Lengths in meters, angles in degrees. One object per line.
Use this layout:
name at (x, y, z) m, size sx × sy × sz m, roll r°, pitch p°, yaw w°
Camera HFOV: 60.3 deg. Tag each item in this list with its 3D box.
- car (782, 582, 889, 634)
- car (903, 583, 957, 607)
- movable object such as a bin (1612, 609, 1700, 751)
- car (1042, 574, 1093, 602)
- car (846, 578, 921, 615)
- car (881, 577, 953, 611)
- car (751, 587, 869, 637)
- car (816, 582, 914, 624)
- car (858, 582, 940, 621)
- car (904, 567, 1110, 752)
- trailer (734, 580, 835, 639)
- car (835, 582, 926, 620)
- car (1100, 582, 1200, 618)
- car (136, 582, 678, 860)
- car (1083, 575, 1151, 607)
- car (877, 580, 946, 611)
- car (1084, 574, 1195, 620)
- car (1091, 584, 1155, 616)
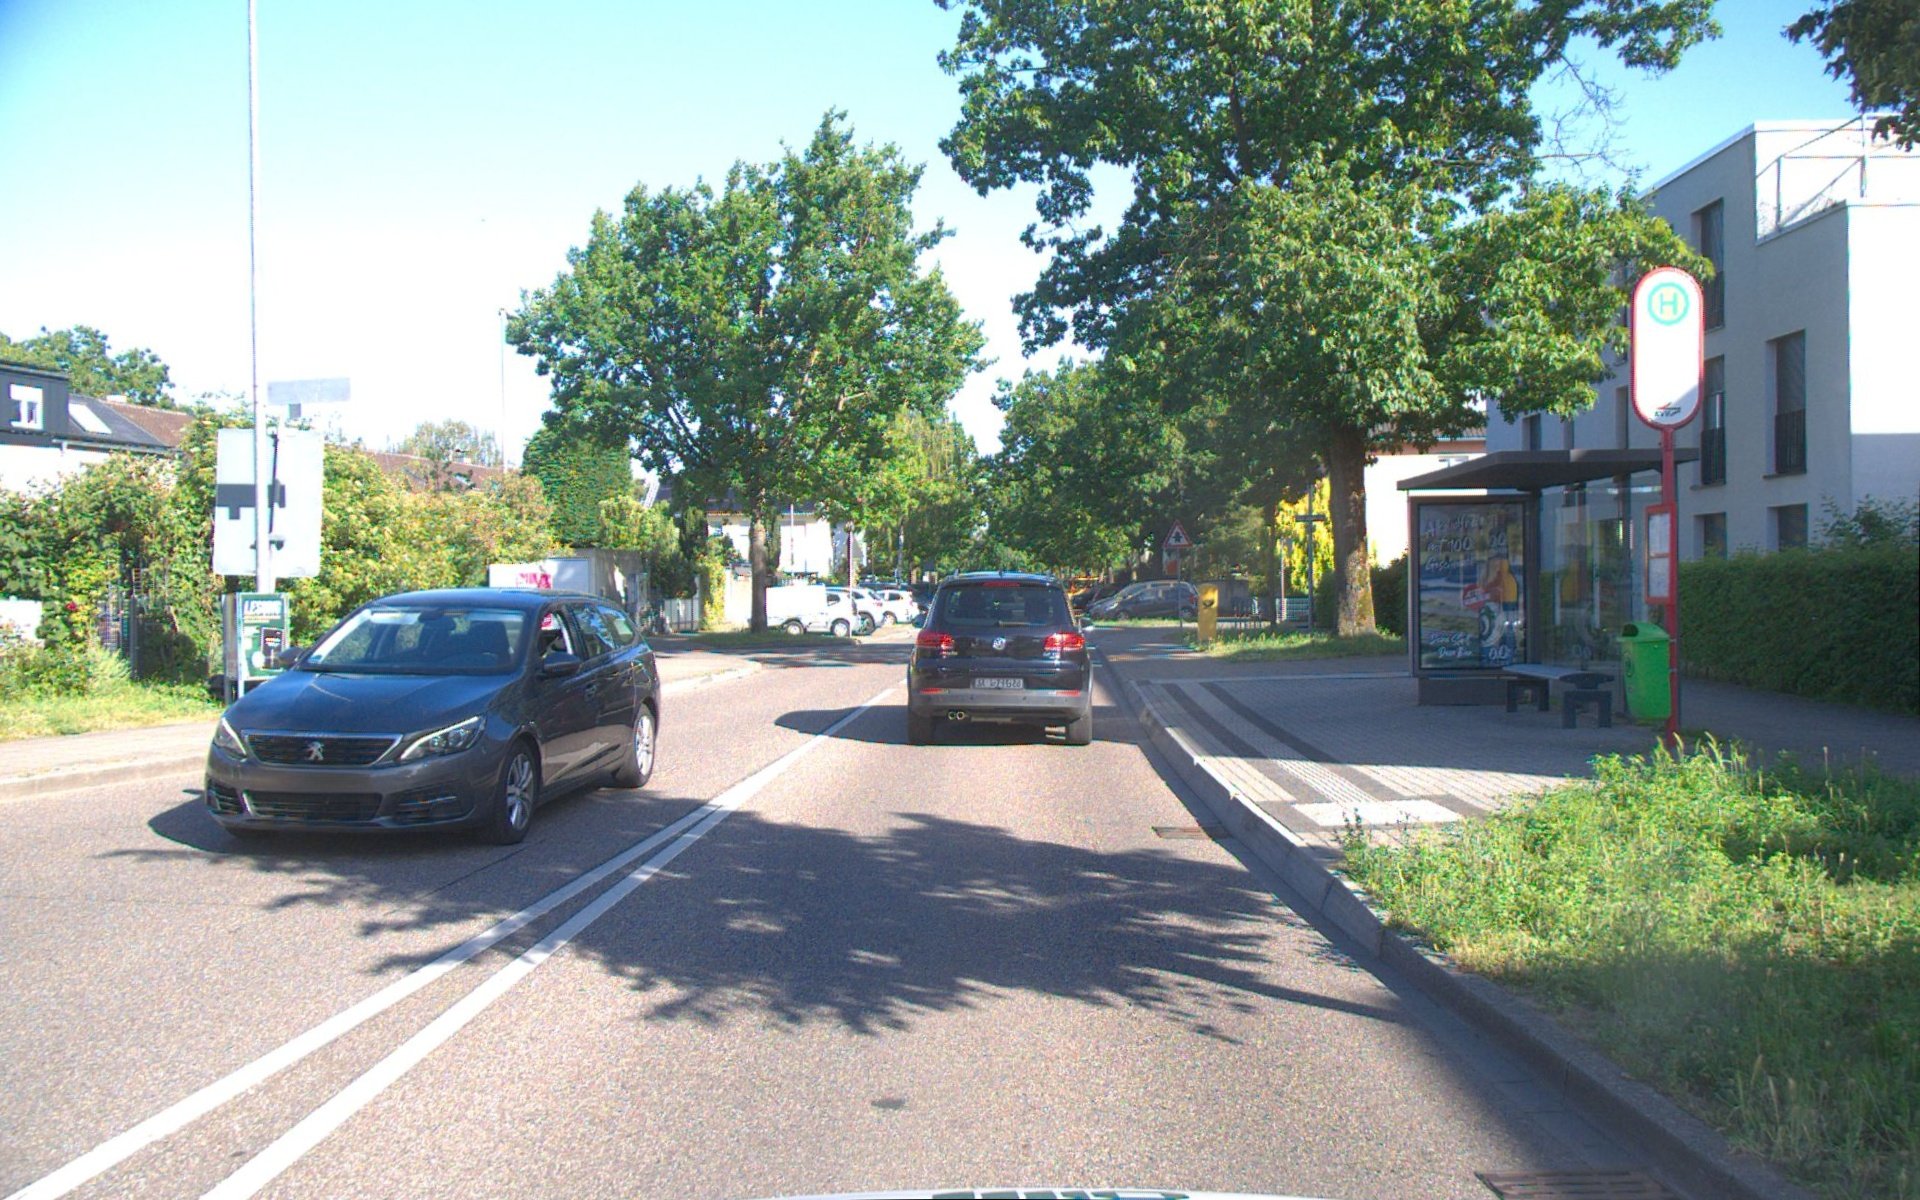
car at (-4.137, 0.253, 55.195) m, size 3.479 × 1.641 × 1.851 m, roll -1°, pitch 0°, yaw -4°
car at (-2.240, -0.360, 122.652) m, size 3.910 × 1.713 × 1.921 m, roll -1°, pitch 0°, yaw -6°
movable object such as a bin at (5.274, 0.594, 12.551) m, size 0.361 × 1.034 × 0.599 m, roll -1°, pitch 0°, yaw -7°
car at (8.427, -0.915, 129.878) m, size 3.903 × 2.049 × 2.000 m, roll -1°, pitch -2°, yaw 3°
car at (-4.030, -0.192, 87.590) m, size 3.906 × 1.868 × 1.637 m, roll -1°, pitch 0°, yaw -2°
car at (-2.599, -0.335, 99.654) m, size 4.301 × 1.973 × 1.578 m, roll -1°, pitch -1°, yaw -2°
car at (-4.735, 0.367, 52.538) m, size 3.475 × 1.503 × 1.809 m, roll -1°, pitch 0°, yaw 2°
car at (-3.975, 0.113, 70.009) m, size 3.903 × 1.699 × 2.001 m, roll -1°, pitch 0°, yaw 3°
car at (-2.920, 0.065, 80.078) m, size 3.906 × 1.762 × 2.000 m, roll -1°, pitch 0°, yaw -2°
car at (0.379, 0.515, 17.498) m, size 1.890 × 1.683 × 4.513 m, roll 1°, pitch 1°, yaw -2°
trailer at (-5.313, 0.277, 50.197) m, size 2.907 × 1.685 × 1.396 m, roll -1°, pitch 0°, yaw -2°
car at (-3.603, 0.024, 75.340) m, size 3.903 × 1.668 × 2.001 m, roll -1°, pitch 0°, yaw 4°
car at (7.726, 0.001, 67.559) m, size 3.904 × 1.392 × 1.847 m, roll -1°, pitch 0°, yaw 2°
car at (-3.359, 0.631, 11.115) m, size 1.952 × 1.469 × 4.452 m, roll 1°, pitch 0°, yaw 3°
car at (9.344, -0.539, 98.648) m, size 3.903 × 1.806 × 1.790 m, roll -1°, pitch 0°, yaw 3°
car at (-2.842, -0.247, 97.189) m, size 3.904 × 1.750 × 1.821 m, roll -1°, pitch -1°, yaw 2°
car at (7.555, -0.122, 70.066) m, size 4.536 × 1.841 × 1.824 m, roll -1°, pitch 0°, yaw 2°
car at (8.051, 0.009, 81.914) m, size 2.984 × 1.534 × 1.246 m, roll -1°, pitch 0°, yaw -4°
